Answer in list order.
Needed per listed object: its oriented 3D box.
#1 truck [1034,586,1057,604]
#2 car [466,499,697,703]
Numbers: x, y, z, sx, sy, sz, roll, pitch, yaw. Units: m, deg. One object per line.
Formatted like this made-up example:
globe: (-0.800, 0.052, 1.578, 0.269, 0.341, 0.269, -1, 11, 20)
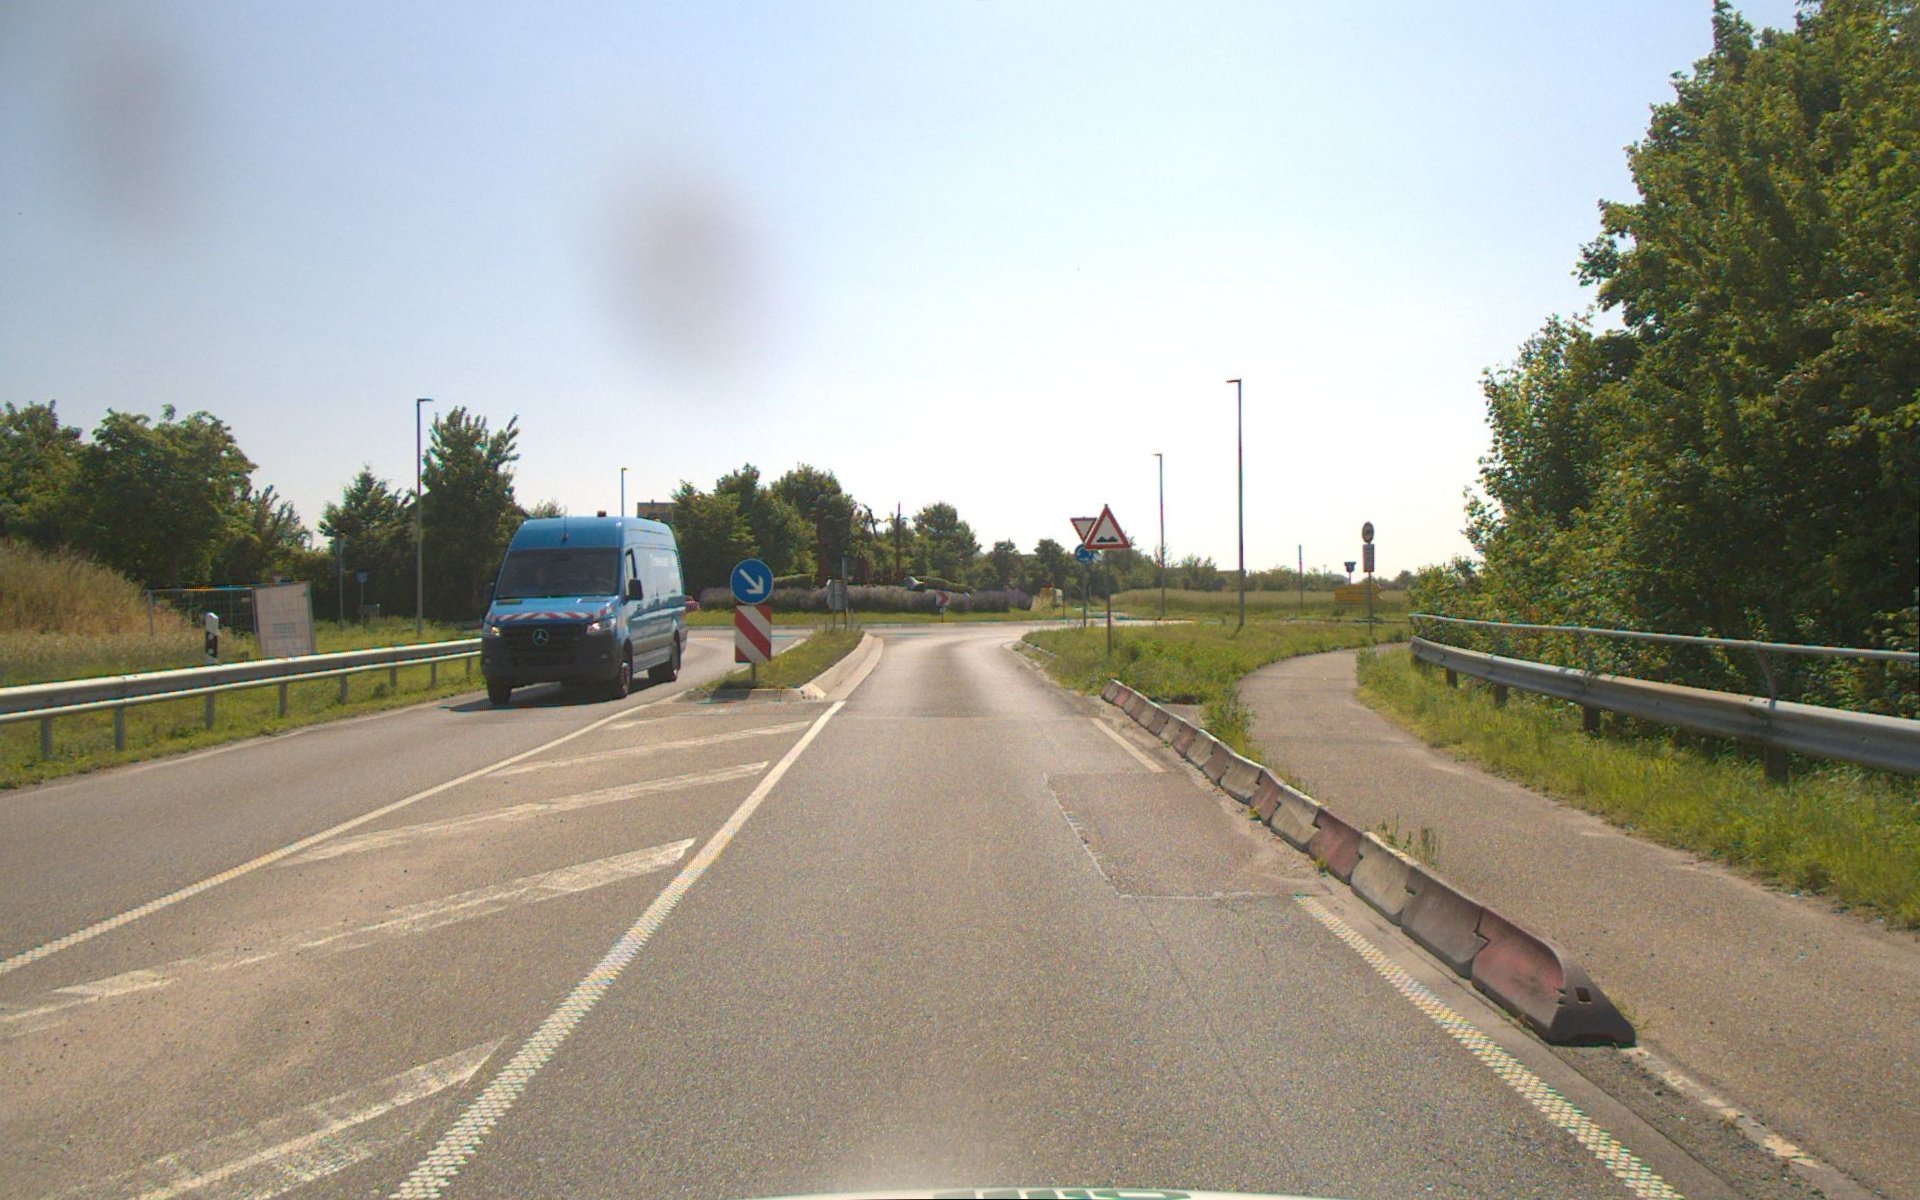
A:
truck: (9.699, -0.550, 187.283, 1.951, 2.049, 4.003, -1, 0, 14)
car: (-5.674, -0.003, 25.892, 1.953, 2.656, 7.289, -2, 0, -1)
